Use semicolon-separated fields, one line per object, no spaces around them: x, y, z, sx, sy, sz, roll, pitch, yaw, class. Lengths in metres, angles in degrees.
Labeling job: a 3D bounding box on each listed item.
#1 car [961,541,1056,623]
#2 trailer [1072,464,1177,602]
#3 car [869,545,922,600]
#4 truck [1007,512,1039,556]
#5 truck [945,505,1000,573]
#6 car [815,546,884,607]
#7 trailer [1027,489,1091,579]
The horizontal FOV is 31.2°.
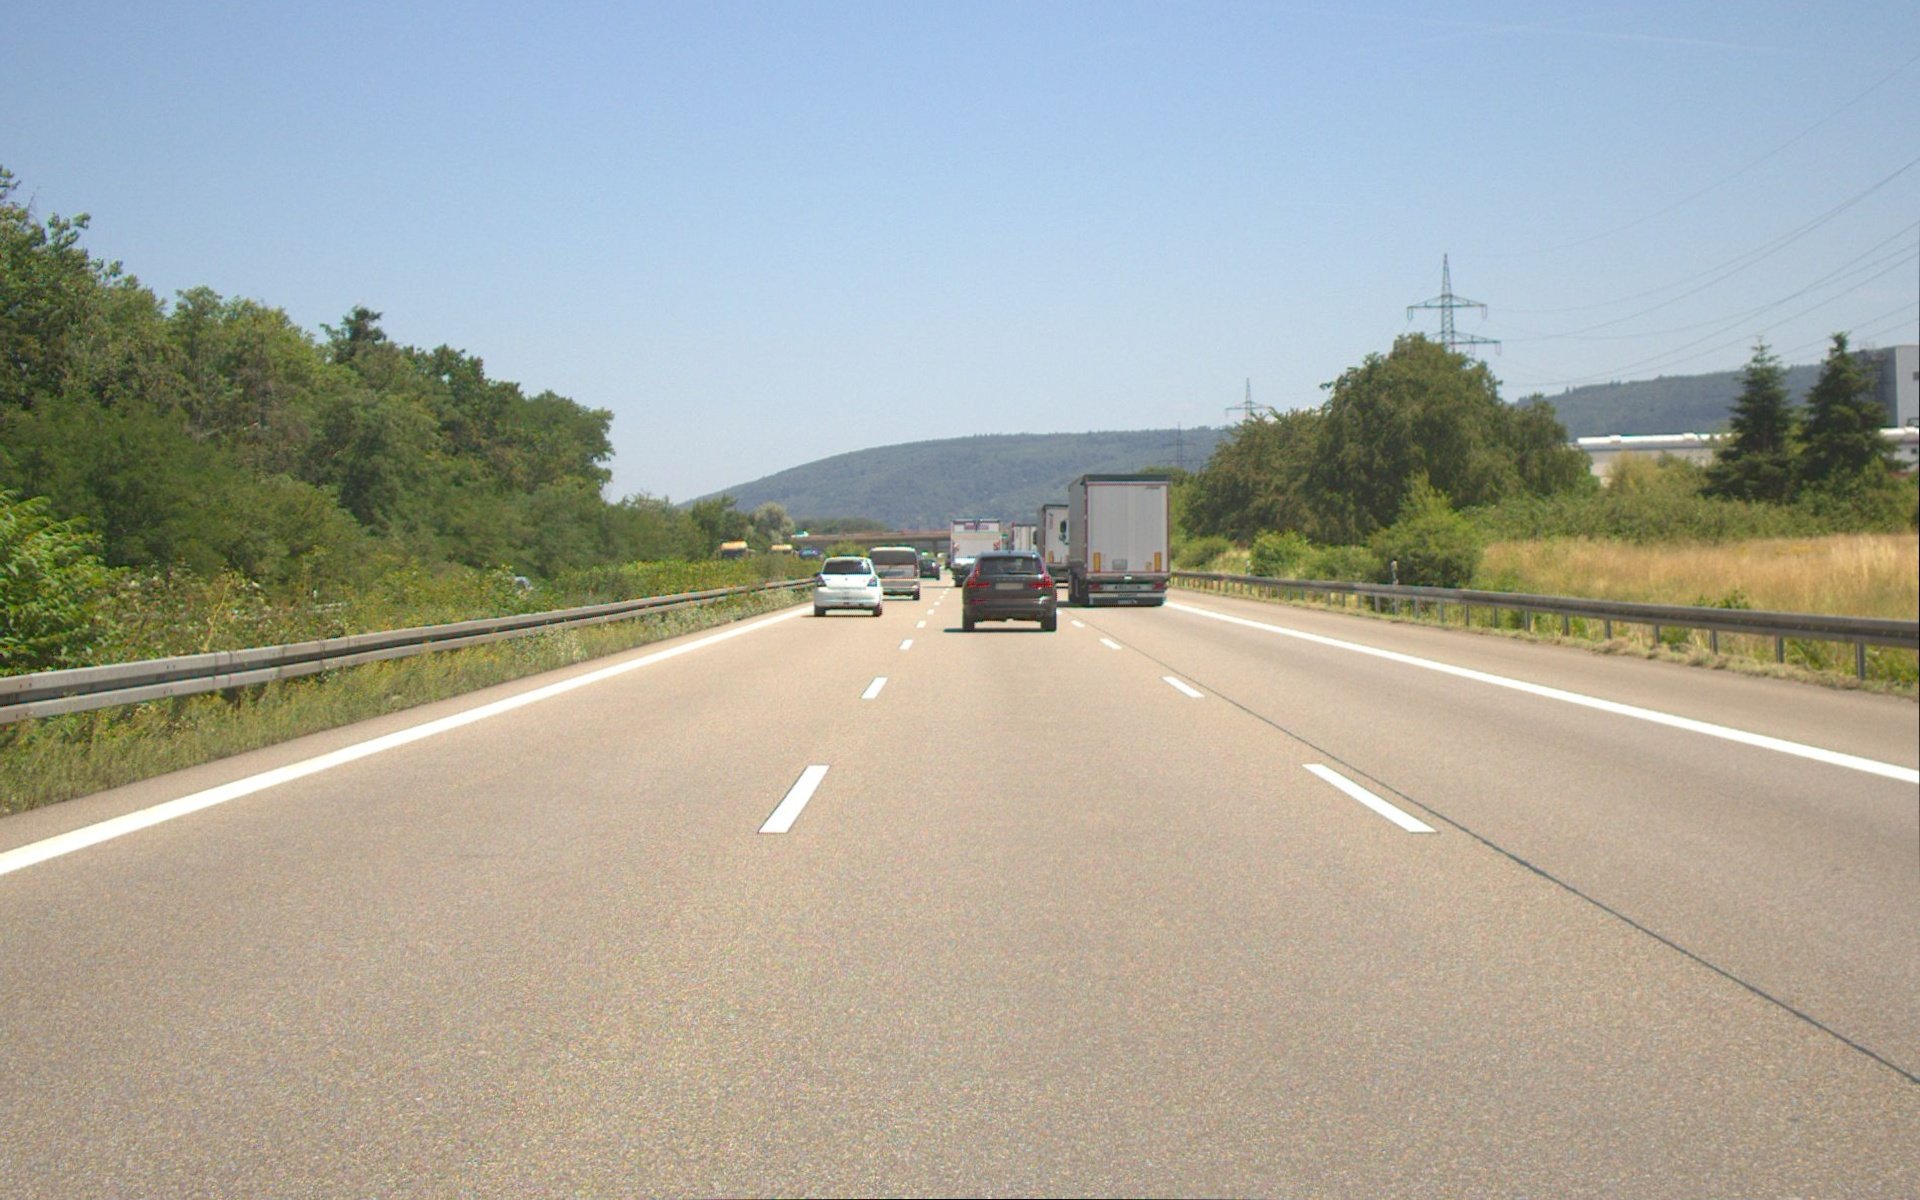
0.965;-0.381;70.233;1.873;1.618;4.004;0;1;0;car
5.106;-2.068;108.665;2.736;4.092;13.122;0;1;0;trailer
-2.289;-0.976;122.044;1.761;1.844;4.000;-2;1;0;car
4.762;-4.998;260.617;2.221;3.198;10.385;-2;1;0;truck
0.648;-3.095;176.684;2.782;3.361;8.127;0;0;0;truck
-2.823;-0.609;88.224;1.607;1.462;4.000;-2;1;0;car
4.863;-3.219;170.516;2.789;4.149;13.574;-2;1;1;trailer
